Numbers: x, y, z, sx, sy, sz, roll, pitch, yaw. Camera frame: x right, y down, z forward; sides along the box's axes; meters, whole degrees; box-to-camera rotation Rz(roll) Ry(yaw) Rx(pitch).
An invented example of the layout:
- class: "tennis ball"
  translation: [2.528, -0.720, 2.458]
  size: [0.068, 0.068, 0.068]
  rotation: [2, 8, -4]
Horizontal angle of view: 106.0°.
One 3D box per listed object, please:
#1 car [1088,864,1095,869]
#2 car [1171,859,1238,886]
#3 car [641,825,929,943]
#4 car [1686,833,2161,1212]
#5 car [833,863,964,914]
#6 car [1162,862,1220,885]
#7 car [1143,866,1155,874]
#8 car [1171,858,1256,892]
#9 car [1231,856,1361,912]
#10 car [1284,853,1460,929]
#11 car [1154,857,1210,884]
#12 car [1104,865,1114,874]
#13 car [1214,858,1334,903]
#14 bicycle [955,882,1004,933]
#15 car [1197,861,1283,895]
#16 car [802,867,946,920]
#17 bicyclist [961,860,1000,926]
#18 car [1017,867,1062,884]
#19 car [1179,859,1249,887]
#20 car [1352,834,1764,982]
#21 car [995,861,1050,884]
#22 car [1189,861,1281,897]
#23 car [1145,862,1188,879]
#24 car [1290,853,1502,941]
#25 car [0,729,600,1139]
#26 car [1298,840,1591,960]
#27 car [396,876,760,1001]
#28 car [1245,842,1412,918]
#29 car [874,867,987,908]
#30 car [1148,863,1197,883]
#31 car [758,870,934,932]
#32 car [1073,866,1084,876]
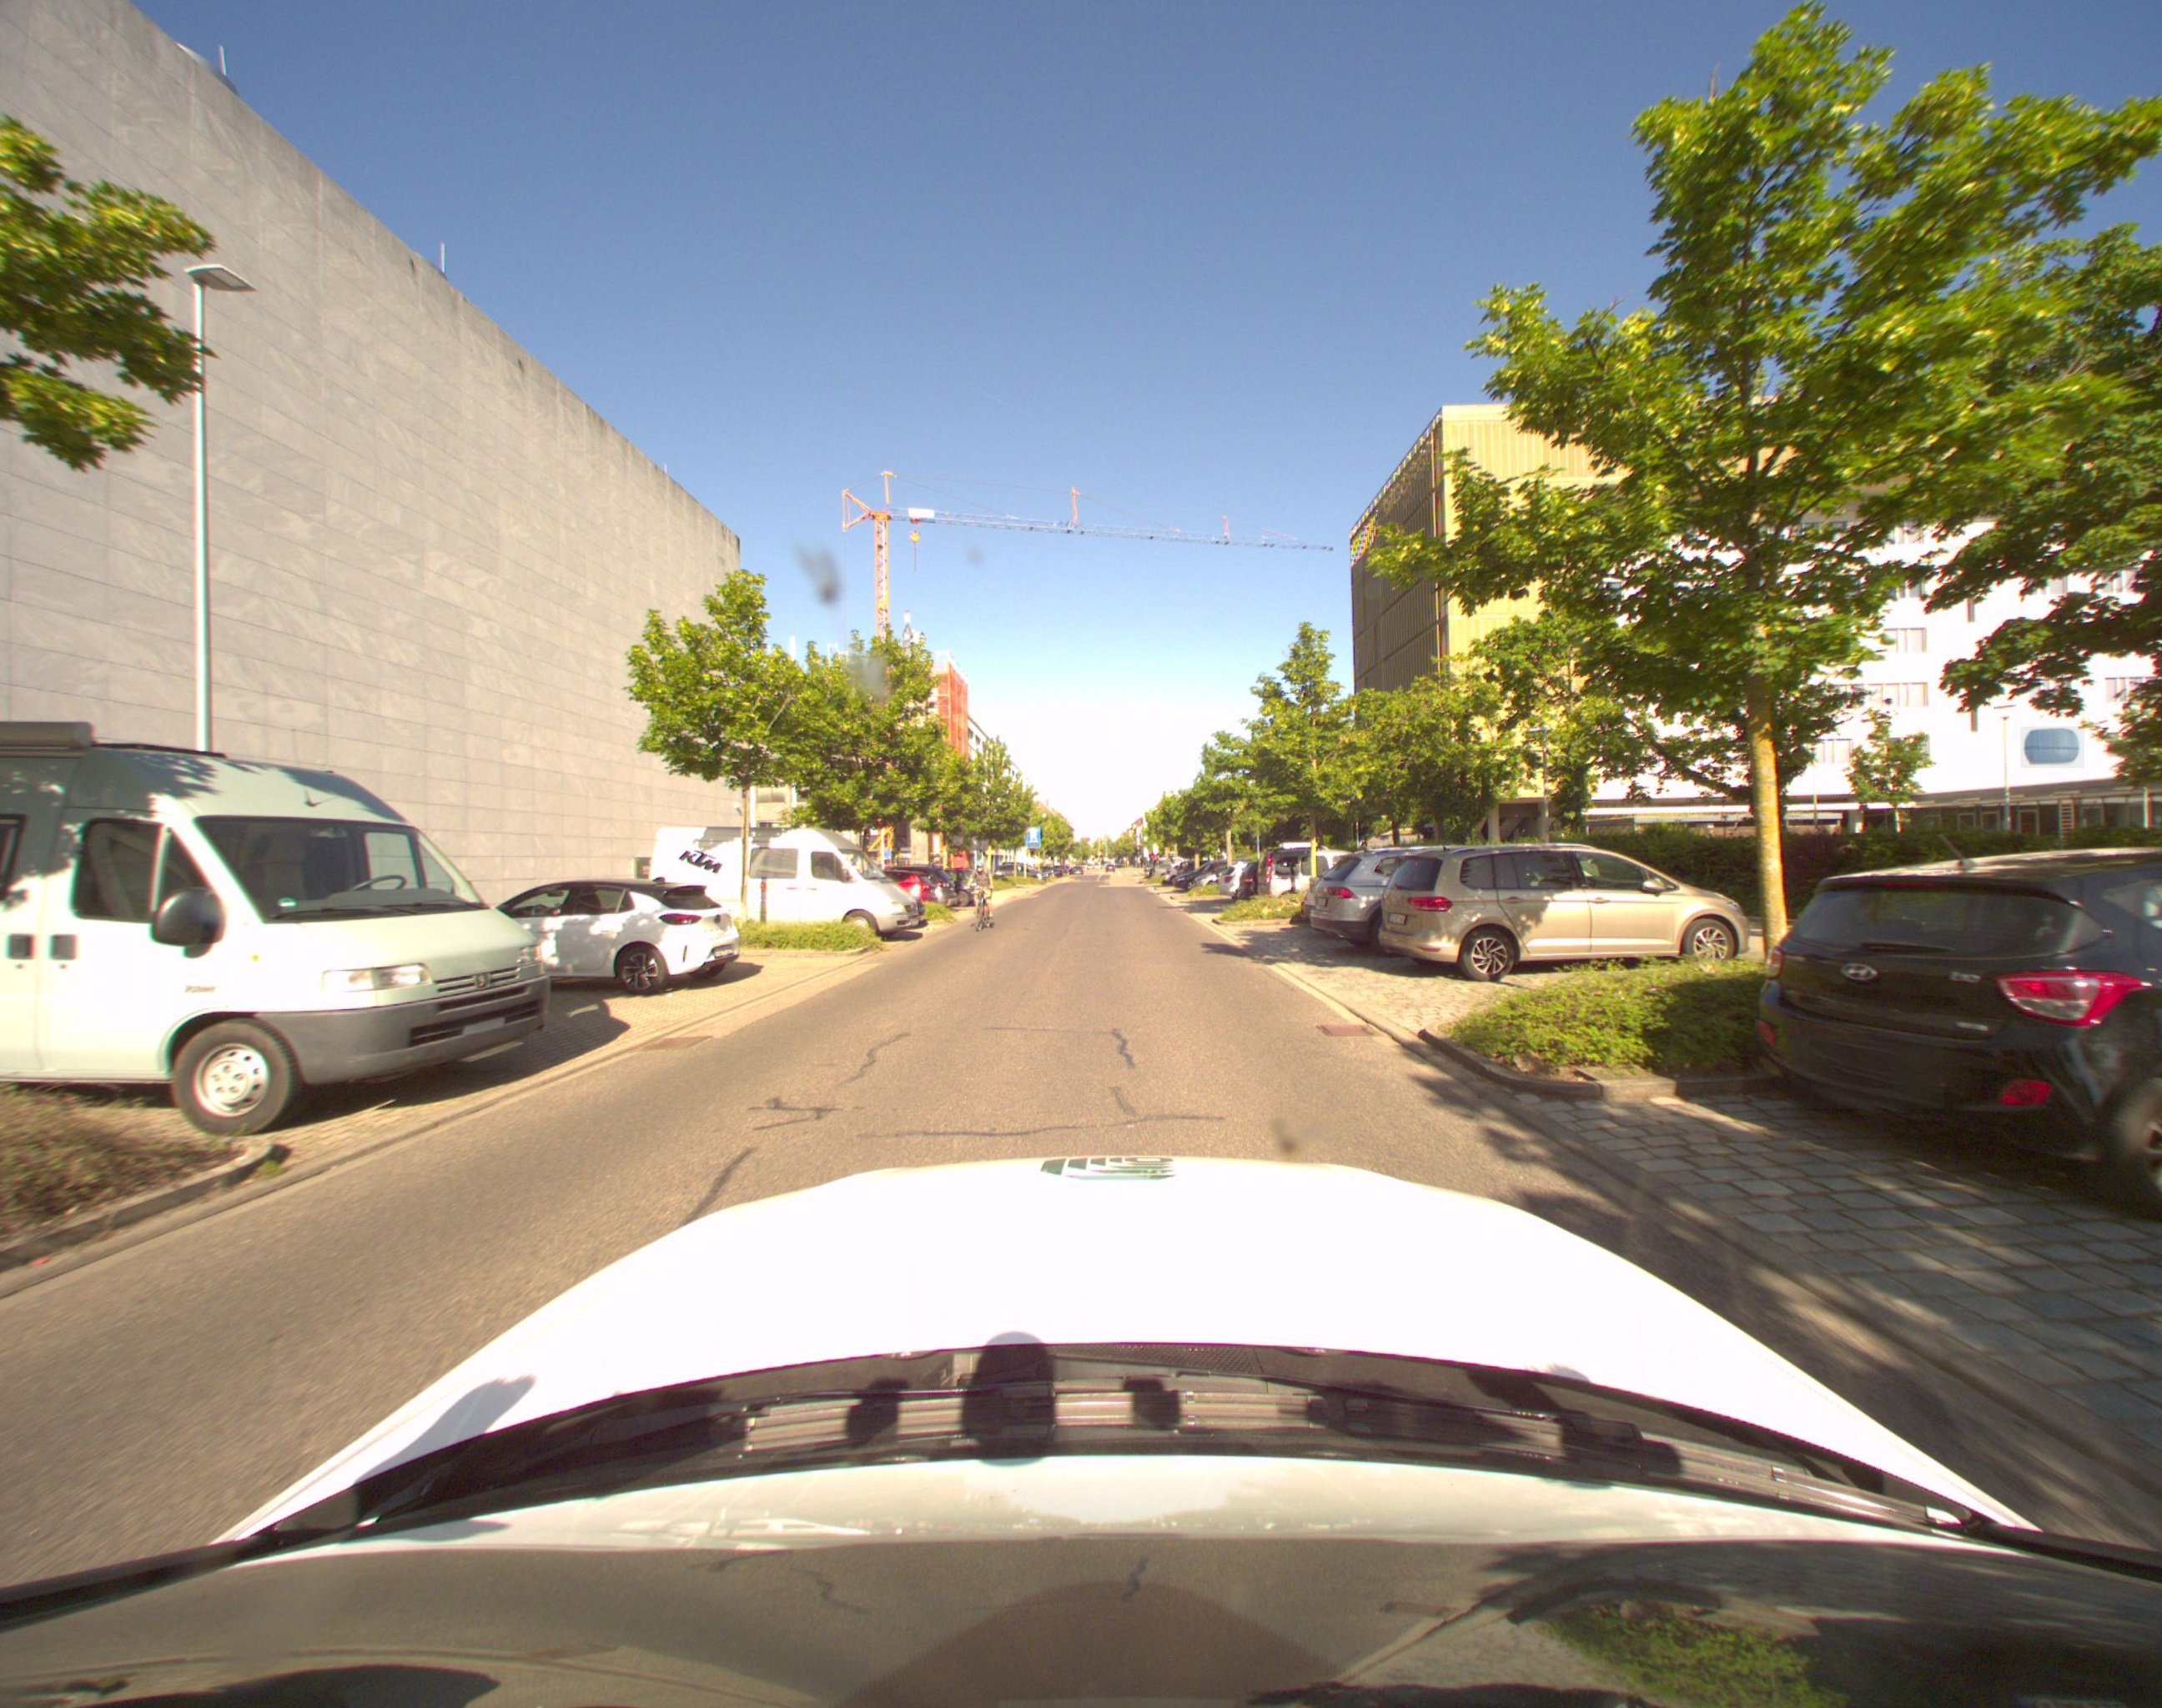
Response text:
- class: "car"
  translation: [3.120, 3.621, 237.840]
  size: [1.804, 1.474, 4.113]
  rotation: [-2, 0, 3]
- class: "car"
  translation: [7.759, 1.170, 51.649]
  size: [3.971, 1.582, 2.032]
  rotation: [-2, -1, 2]
- class: "car"
  translation: [-6.324, 0.615, 17.817]
  size: [5.527, 2.410, 1.989]
  rotation: [0, -1, 3]
- class: "car"
  translation: [5.524, 0.649, 4.209]
  size: [3.442, 1.489, 1.746]
  rotation: [-3, -2, -1]
- class: "car"
  translation: [-6.183, 1.155, 27.867]
  size: [3.968, 1.664, 1.830]
  rotation: [0, -1, 4]
- class: "car"
  translation: [7.608, 1.348, 56.448]
  size: [3.752, 1.459, 1.818]
  rotation: [-2, -1, 1]
- class: "car"
  translation: [13.750, 3.290, 164.672]
  size: [1.983, 1.474, 4.110]
  rotation: [-2, 0, 0]
- class: "car"
  translation: [6.838, 1.062, 42.259]
  size: [4.130, 1.580, 1.741]
  rotation: [-2, -1, 0]
- class: "car"
  translation: [6.697, 0.917, 25.606]
  size: [3.595, 1.549, 1.707]
  rotation: [-2, 0, -1]
- class: "car"
  translation: [6.546, 0.816, 18.504]
  size: [3.360, 1.530, 1.596]
  rotation: [-2, -1, -7]
- class: "car"
  translation: [7.448, 1.196, 60.525]
  size: [3.971, 1.879, 1.683]
  rotation: [-2, 0, 2]
- class: "car"
  translation: [5.548, 3.051, 160.734]
  size: [1.804, 1.474, 4.113]
  rotation: [-2, 0, 3]
- class: "car"
  translation: [7.080, 0.963, 30.162]
  size: [4.045, 1.426, 1.743]
  rotation: [-3, -1, 3]
- class: "bicycle"
  translation: [-2.491, 1.305, 20.310]
  size: [0.694, 1.111, 2.083]
  rotation: [-3, -1, 6]
- class: "car"
  translation: [7.768, 1.153, 39.981]
  size: [3.850, 1.504, 1.652]
  rotation: [-2, -1, -1]
- class: "car"
  translation: [-6.413, 1.201, 25.527]
  size: [3.971, 1.517, 1.856]
  rotation: [-1, -1, 2]
- class: "bicyclist"
  translation: [-2.501, 0.946, 20.369]
  size: [0.680, 1.581, 1.063]
  rotation: [-3, -1, 6]
- class: "car"
  translation: [-4.136, 2.163, 81.720]
  size: [4.319, 1.474, 1.816]
  rotation: [-2, 0, -2]
- class: "car"
  translation: [7.966, 1.149, 48.988]
  size: [3.971, 1.538, 1.862]
  rotation: [-2, -2, 2]
- class: "car"
  translation: [6.073, 0.649, 10.749]
  size: [4.309, 1.608, 1.910]
  rotation: [-2, -1, -2]
- class: "car"
  translation: [-4.777, 1.504, 66.844]
  size: [4.247, 1.665, 1.599]
  rotation: [-2, 0, 0]
- class: "car"
  translation: [6.973, 1.113, 37.198]
  size: [3.887, 1.486, 1.743]
  rotation: [-2, -1, 0]
- class: "car"
  translation: [8.095, 1.550, 77.136]
  size: [3.893, 1.475, 1.760]
  rotation: [-2, -2, 5]
- class: "car"
  translation: [6.120, 0.795, 16.090]
  size: [3.489, 1.530, 1.736]
  rotation: [-2, 0, -4]
- class: "car"
  translation: [-6.818, 0.455, 6.008]
  size: [5.227, 2.418, 2.124]
  rotation: [1, -1, 2]
- class: "car"
  translation: [5.726, 0.679, 13.213]
  size: [3.887, 1.695, 1.940]
  rotation: [-2, 0, -1]
- class: "car"
  translation: [-6.687, 1.078, 11.133]
  size: [3.813, 1.472, 1.850]
  rotation: [0, -1, 3]
- class: "car"
  translation: [6.903, 0.684, 23.030]
  size: [4.106, 1.927, 1.978]
  rotation: [-2, 0, -1]
- class: "car"
  translation: [-5.901, 1.299, 32.332]
  size: [4.118, 1.492, 1.868]
  rotation: [0, 0, -2]
- class: "car"
  translation: [7.436, 1.501, 66.176]
  size: [3.893, 1.474, 1.798]
  rotation: [-2, 0, 5]
- class: "car"
  translation: [-5.911, 1.169, 20.808]
  size: [3.916, 1.485, 1.787]
  rotation: [0, -1, 3]
- class: "car"
  translation: [-0.411, 2.855, 134.449]
  size: [1.805, 1.474, 4.111]
  rotation: [-2, 0, 1]
